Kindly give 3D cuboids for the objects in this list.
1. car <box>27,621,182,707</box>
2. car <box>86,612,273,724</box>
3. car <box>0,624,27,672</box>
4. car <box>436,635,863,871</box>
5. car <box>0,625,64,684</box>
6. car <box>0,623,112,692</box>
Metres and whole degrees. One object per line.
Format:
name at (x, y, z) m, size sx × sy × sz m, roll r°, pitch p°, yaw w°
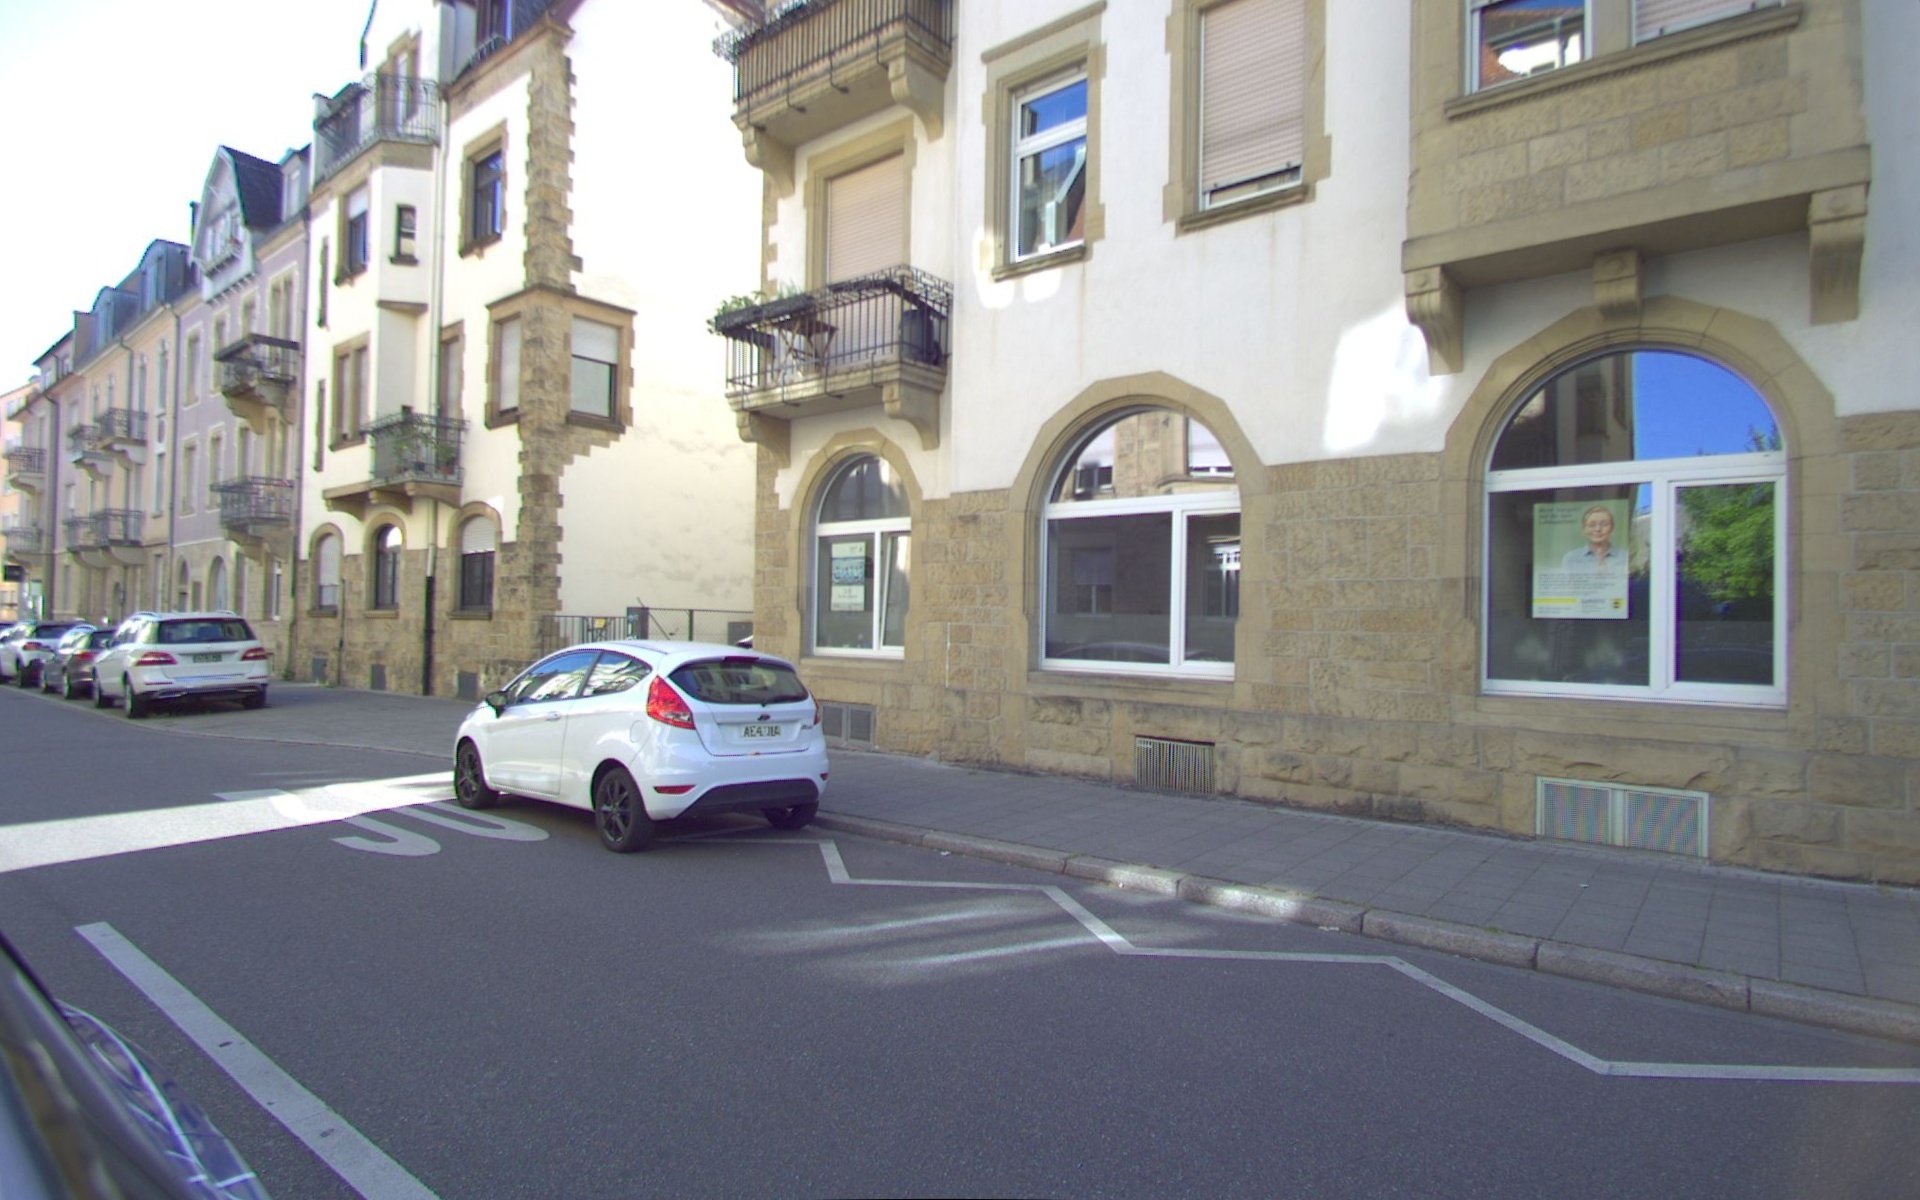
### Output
car at (-18.439, 1.286, 21.753) m, size 4.319 × 1.519 × 1.866 m, roll -1°, pitch 2°, yaw 41°
car at (-13.947, 1.095, 17.999) m, size 4.209 × 1.740 × 1.866 m, roll -1°, pitch 0°, yaw 41°
car at (-33.133, 1.600, 34.224) m, size 4.319 × 1.520 × 1.866 m, roll -1°, pitch 0°, yaw 41°
car at (-2.633, 1.044, 8.179) m, size 3.642 × 1.469 × 1.634 m, roll -2°, pitch -5°, yaw 42°
car at (-27.150, 1.511, 28.875) m, size 4.317 × 1.511 × 1.833 m, roll -1°, pitch 0°, yaw 41°
car at (-22.942, 1.378, 25.435) m, size 4.319 × 1.520 × 1.866 m, roll -1°, pitch 0°, yaw 41°
